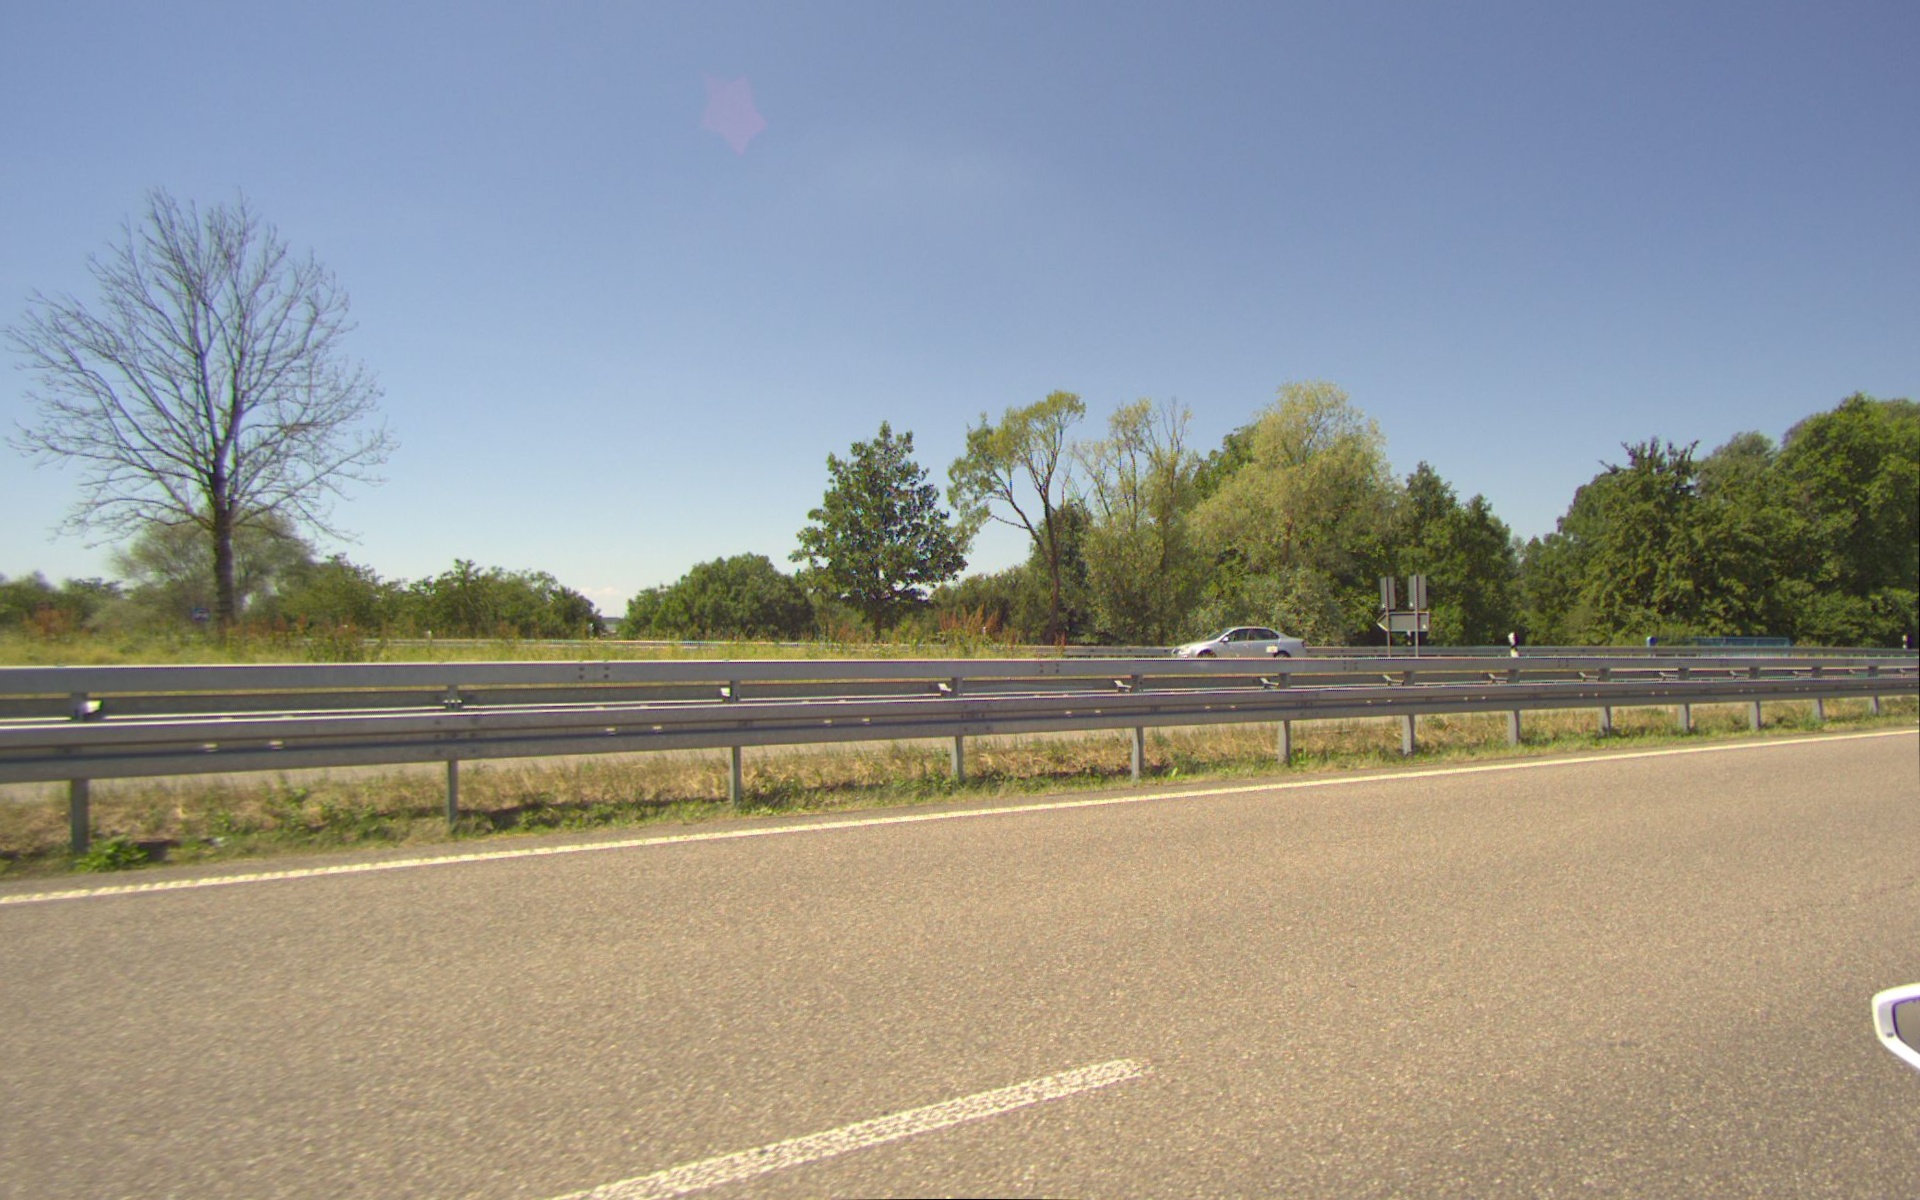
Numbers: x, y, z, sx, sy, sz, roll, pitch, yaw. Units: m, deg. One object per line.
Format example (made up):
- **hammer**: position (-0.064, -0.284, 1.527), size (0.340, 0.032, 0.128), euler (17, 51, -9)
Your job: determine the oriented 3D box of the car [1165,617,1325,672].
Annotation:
- **car**: position (9.523, 1.483, 33.707), size (4.852, 1.667, 1.727), euler (1, 0, -8)
